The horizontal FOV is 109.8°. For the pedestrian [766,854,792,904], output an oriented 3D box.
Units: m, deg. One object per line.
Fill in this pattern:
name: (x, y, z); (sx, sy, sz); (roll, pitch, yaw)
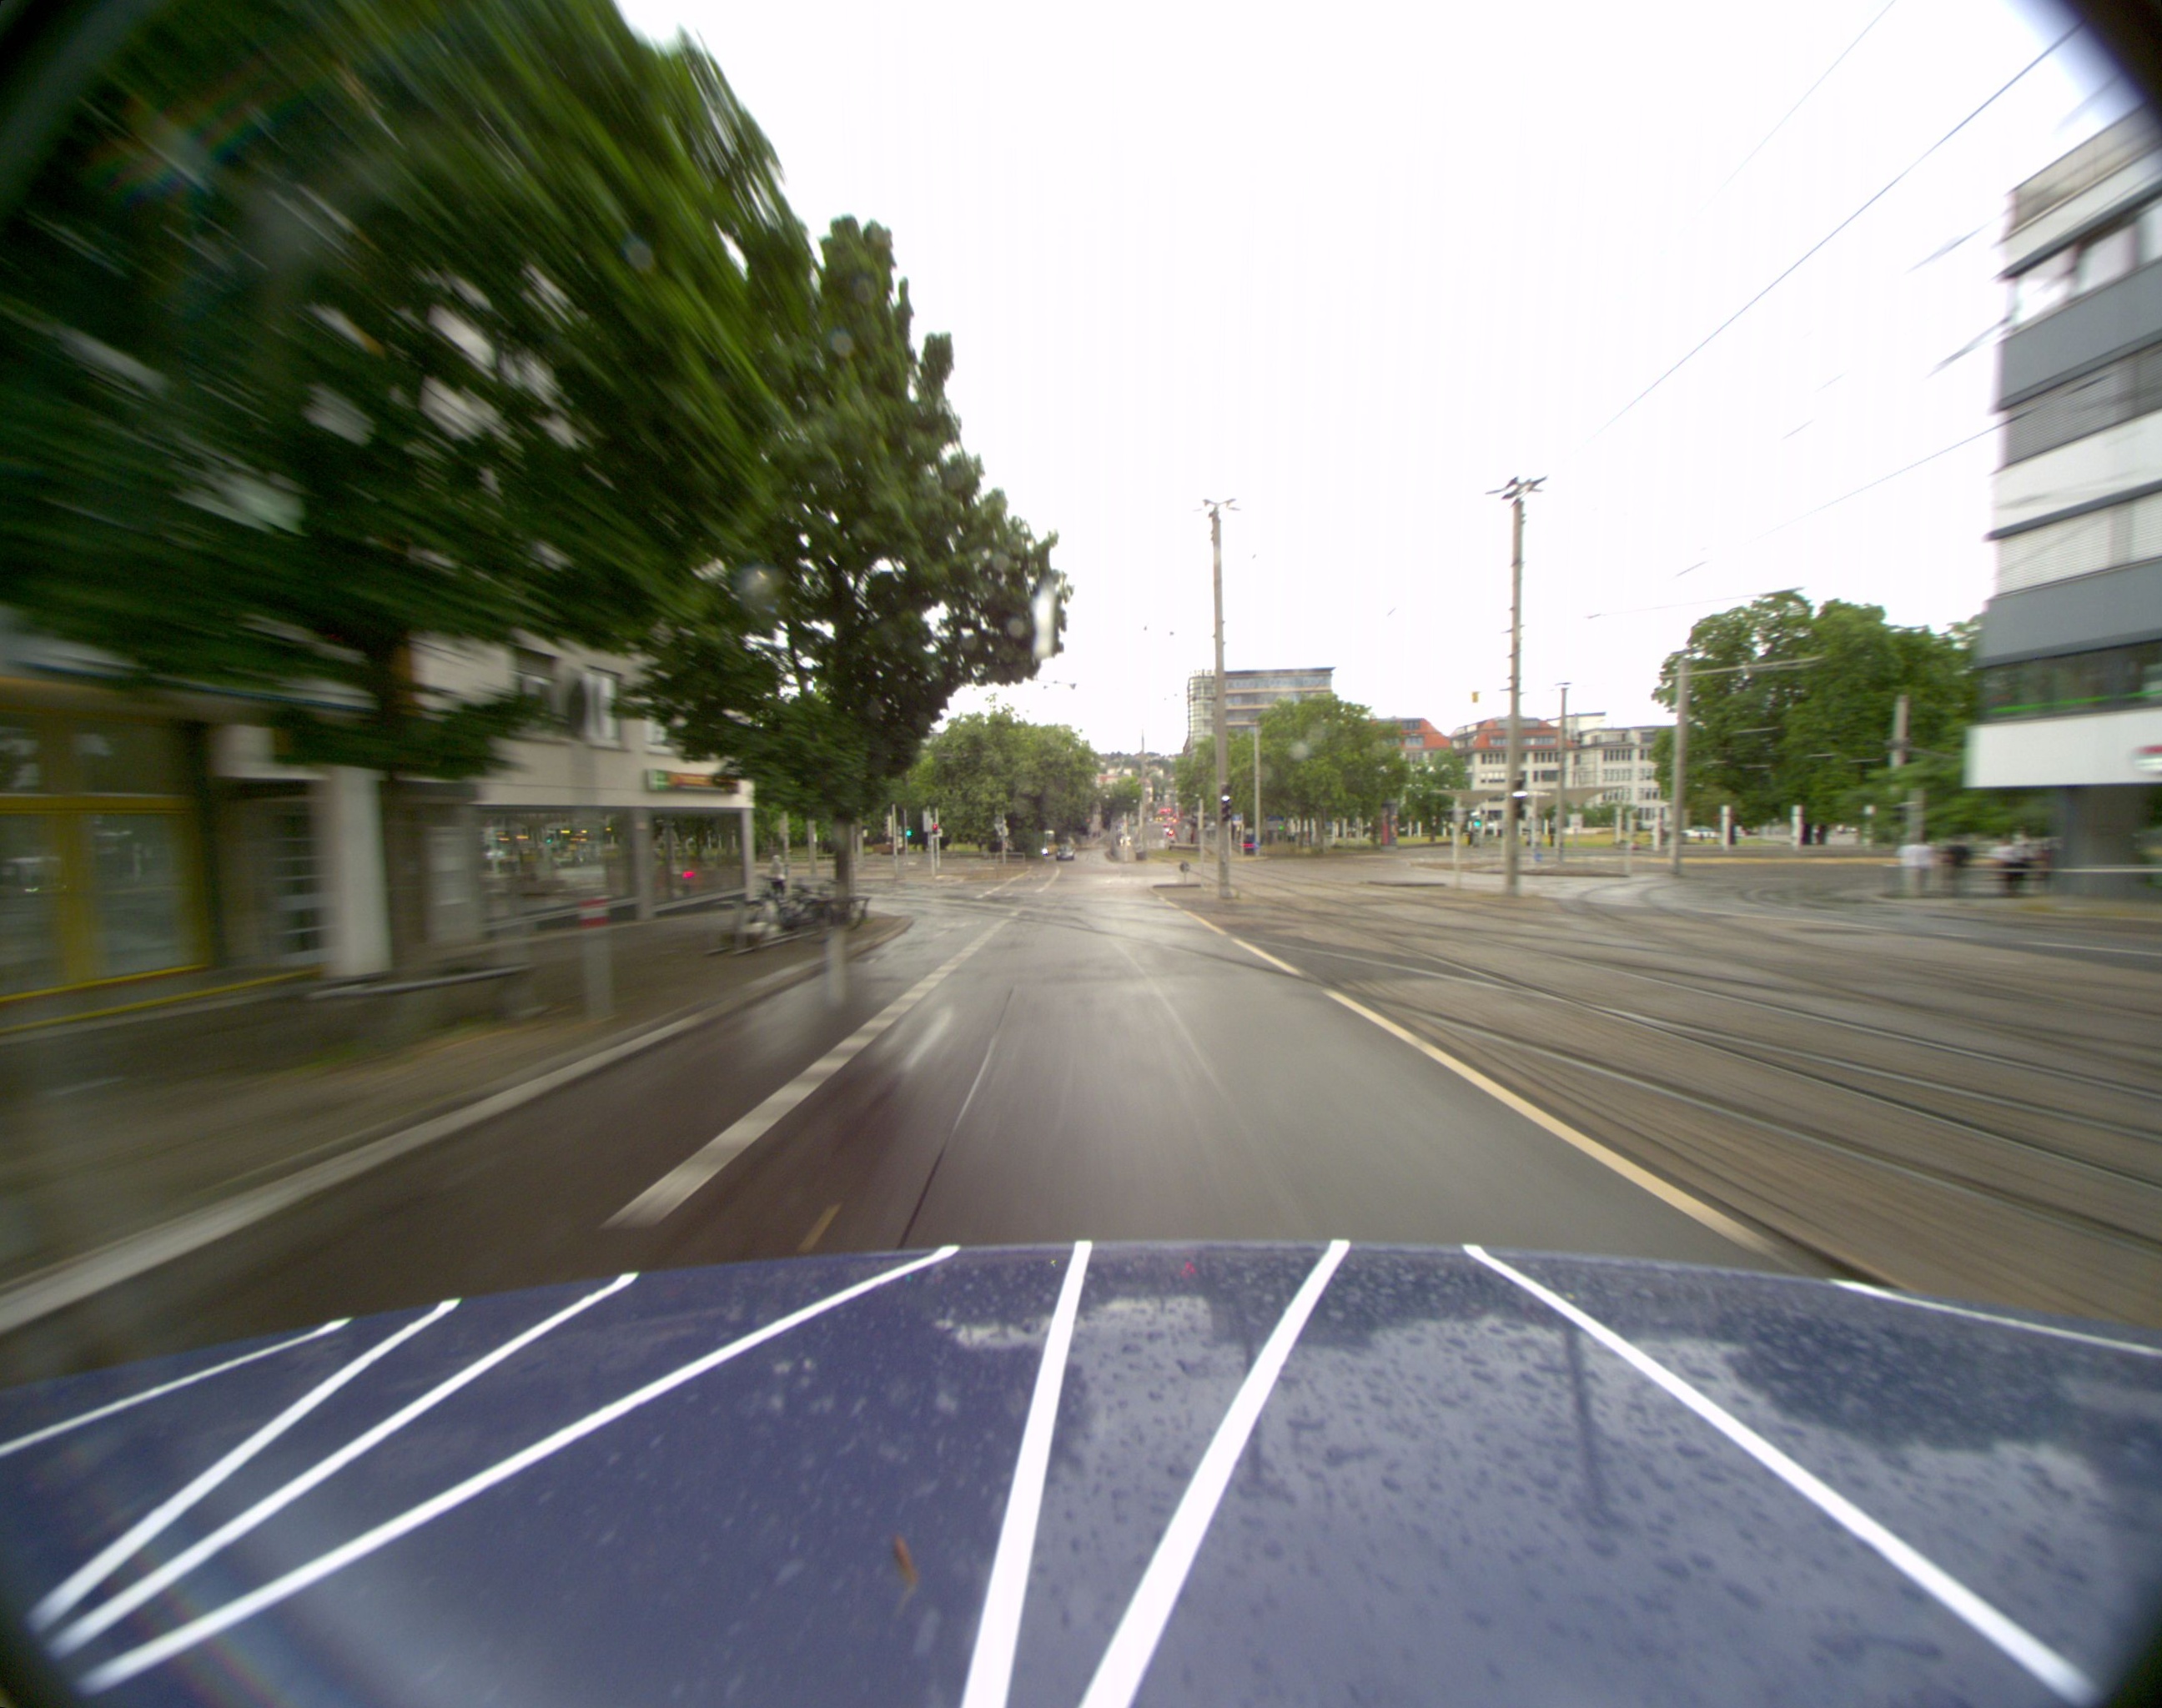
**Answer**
pedestrian: (-10.546, 0.866, 26.549); (0.703, 1.703, 0.529); (1, 3, 43)

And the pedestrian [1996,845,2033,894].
pedestrian: (30.319, 0.500, 24.678); (0.542, 1.554, 0.522); (0, 3, 21)

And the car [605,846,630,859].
car: (-54.975, -0.206, 90.183); (1.704, 1.440, 3.533); (-2, 2, -18)

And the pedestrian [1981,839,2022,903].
pedestrian: (26.143, 0.462, 21.595); (0.720, 1.752, 0.696); (-4, 3, -40)

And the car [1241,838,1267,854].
car: (17.589, -0.822, 77.314); (2.103, 1.497, 4.732); (-1, 2, 7)

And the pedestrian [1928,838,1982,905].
pedestrian: (25.517, 0.505, 22.185); (0.719, 1.903, 0.698); (-1, 3, 0)

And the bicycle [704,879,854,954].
bicycle: (-5.133, 1.052, 12.981); (2.321, 1.168, 0.649); (1, 3, 4)

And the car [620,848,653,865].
car: (-39.530, 0.204, 67.617); (1.704, 1.440, 3.533); (-2, 2, -18)

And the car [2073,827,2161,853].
car: (71.490, -0.987, 51.880); (4.531, 1.637, 2.000); (-1, 2, 5)

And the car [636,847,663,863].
car: (-41.494, 0.099, 73.105); (1.704, 1.440, 3.533); (-2, 2, -22)

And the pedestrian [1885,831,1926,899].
pedestrian: (23.696, 0.309, 21.845); (0.696, 1.903, 0.720); (1, 4, 43)

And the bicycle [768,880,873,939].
bicycle: (-5.113, 1.077, 14.963); (1.820, 1.085, 0.649); (-1, 0, 4)

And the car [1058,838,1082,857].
car: (-1.007, -0.647, 73.646); (1.998, 1.696, 3.999); (-1, 2, 3)
